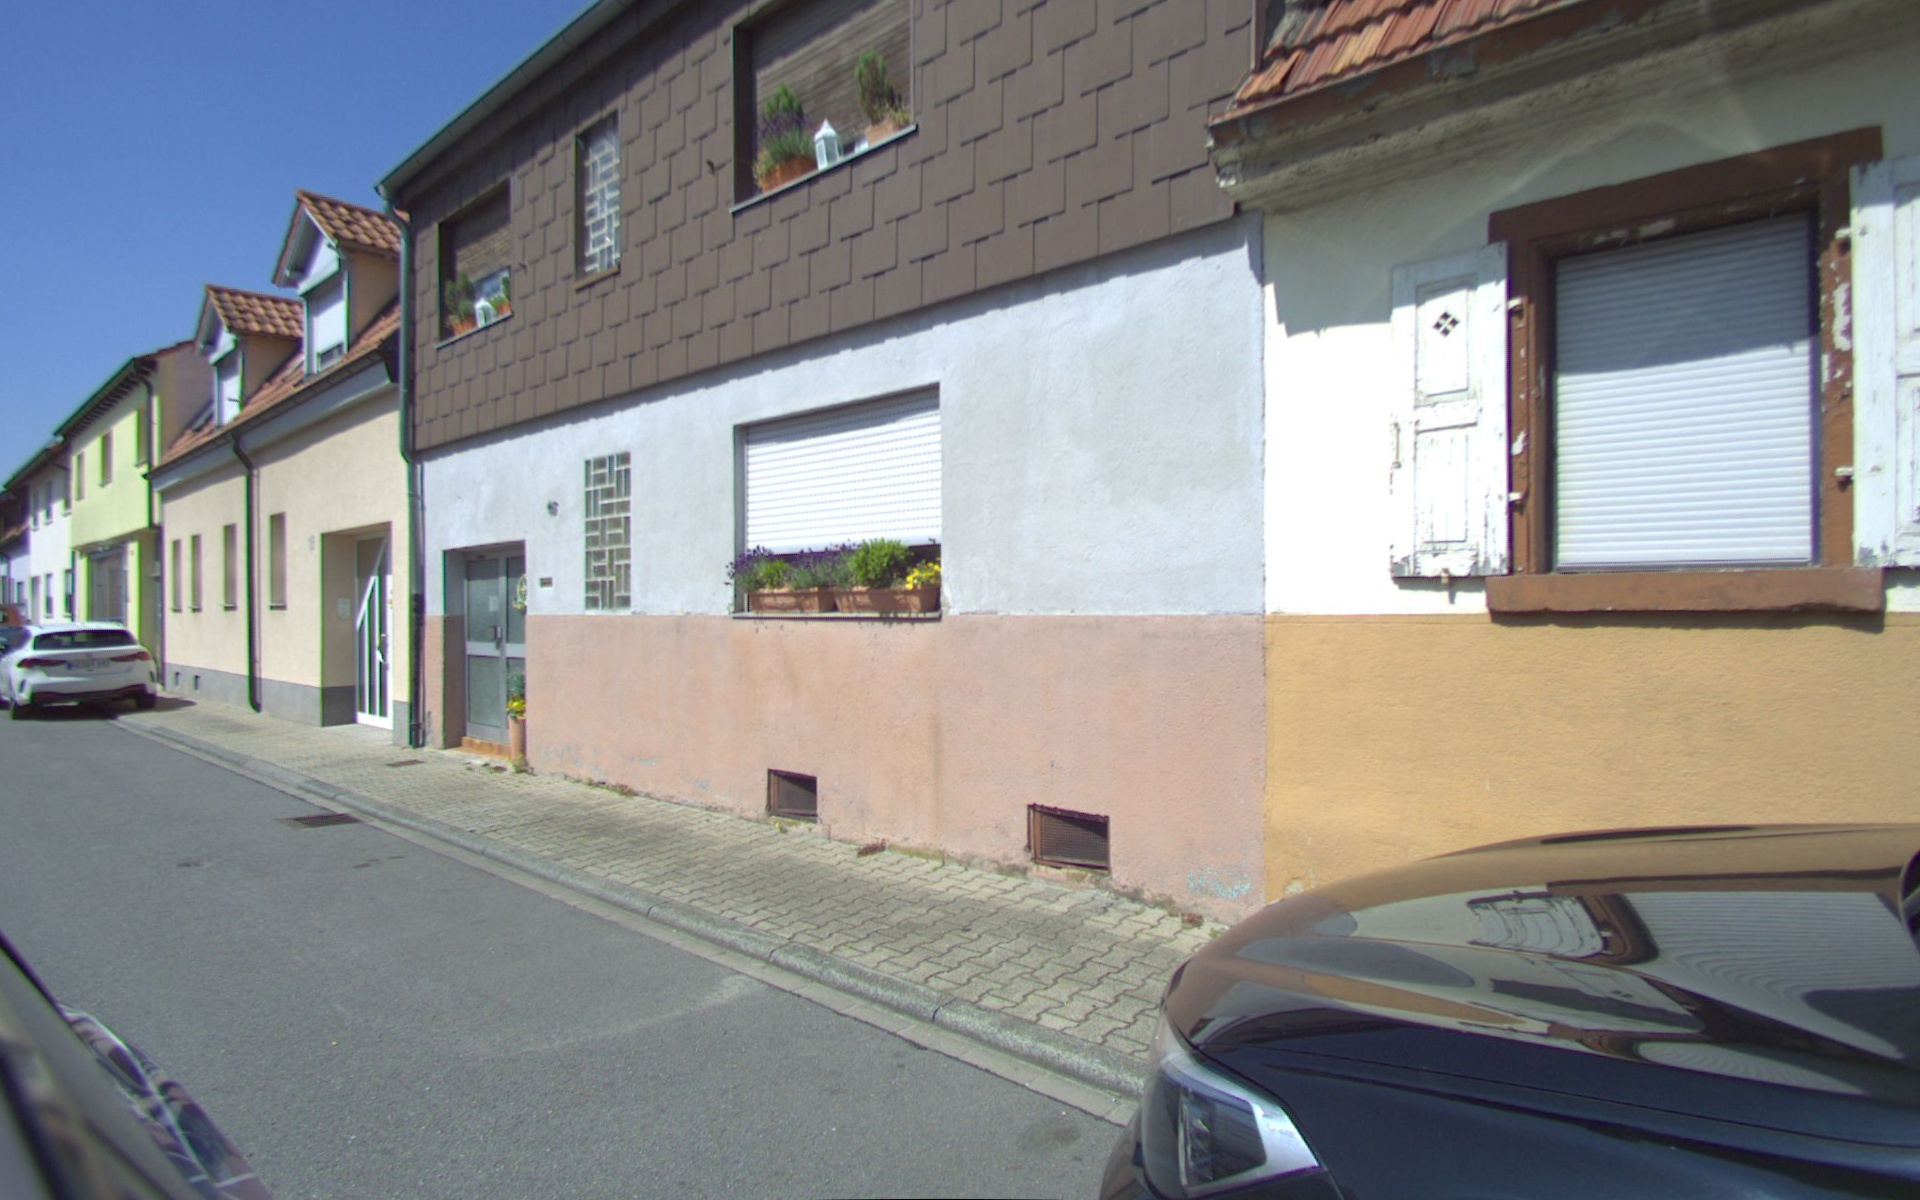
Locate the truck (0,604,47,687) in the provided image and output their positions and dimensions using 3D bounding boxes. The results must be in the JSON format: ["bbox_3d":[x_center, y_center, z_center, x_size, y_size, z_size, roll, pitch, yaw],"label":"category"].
[{"bbox_3d":[-25.436,1.123,26.251,5.080,2.029,2.158,-1,-2,43],"label":"truck"}]

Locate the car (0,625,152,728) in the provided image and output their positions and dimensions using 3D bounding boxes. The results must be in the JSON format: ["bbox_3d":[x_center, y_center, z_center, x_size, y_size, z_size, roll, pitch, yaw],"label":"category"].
[{"bbox_3d":[-14.968,1.168,16.863,4.216,1.465,1.763,-1,-2,43],"label":"car"}]

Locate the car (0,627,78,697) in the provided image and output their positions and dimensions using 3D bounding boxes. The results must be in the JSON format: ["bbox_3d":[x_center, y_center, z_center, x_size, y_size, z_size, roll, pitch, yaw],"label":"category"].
[{"bbox_3d":[-21.285,1.323,22.487,4.630,1.405,1.901,-1,-4,42],"label":"car"}]

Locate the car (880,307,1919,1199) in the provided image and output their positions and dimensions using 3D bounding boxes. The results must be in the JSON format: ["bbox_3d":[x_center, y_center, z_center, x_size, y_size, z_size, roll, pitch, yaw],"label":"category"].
[{"bbox_3d":[2.151,0.590,0.483,4.616,1.586,1.780,-1,-2,44],"label":"car"}]
